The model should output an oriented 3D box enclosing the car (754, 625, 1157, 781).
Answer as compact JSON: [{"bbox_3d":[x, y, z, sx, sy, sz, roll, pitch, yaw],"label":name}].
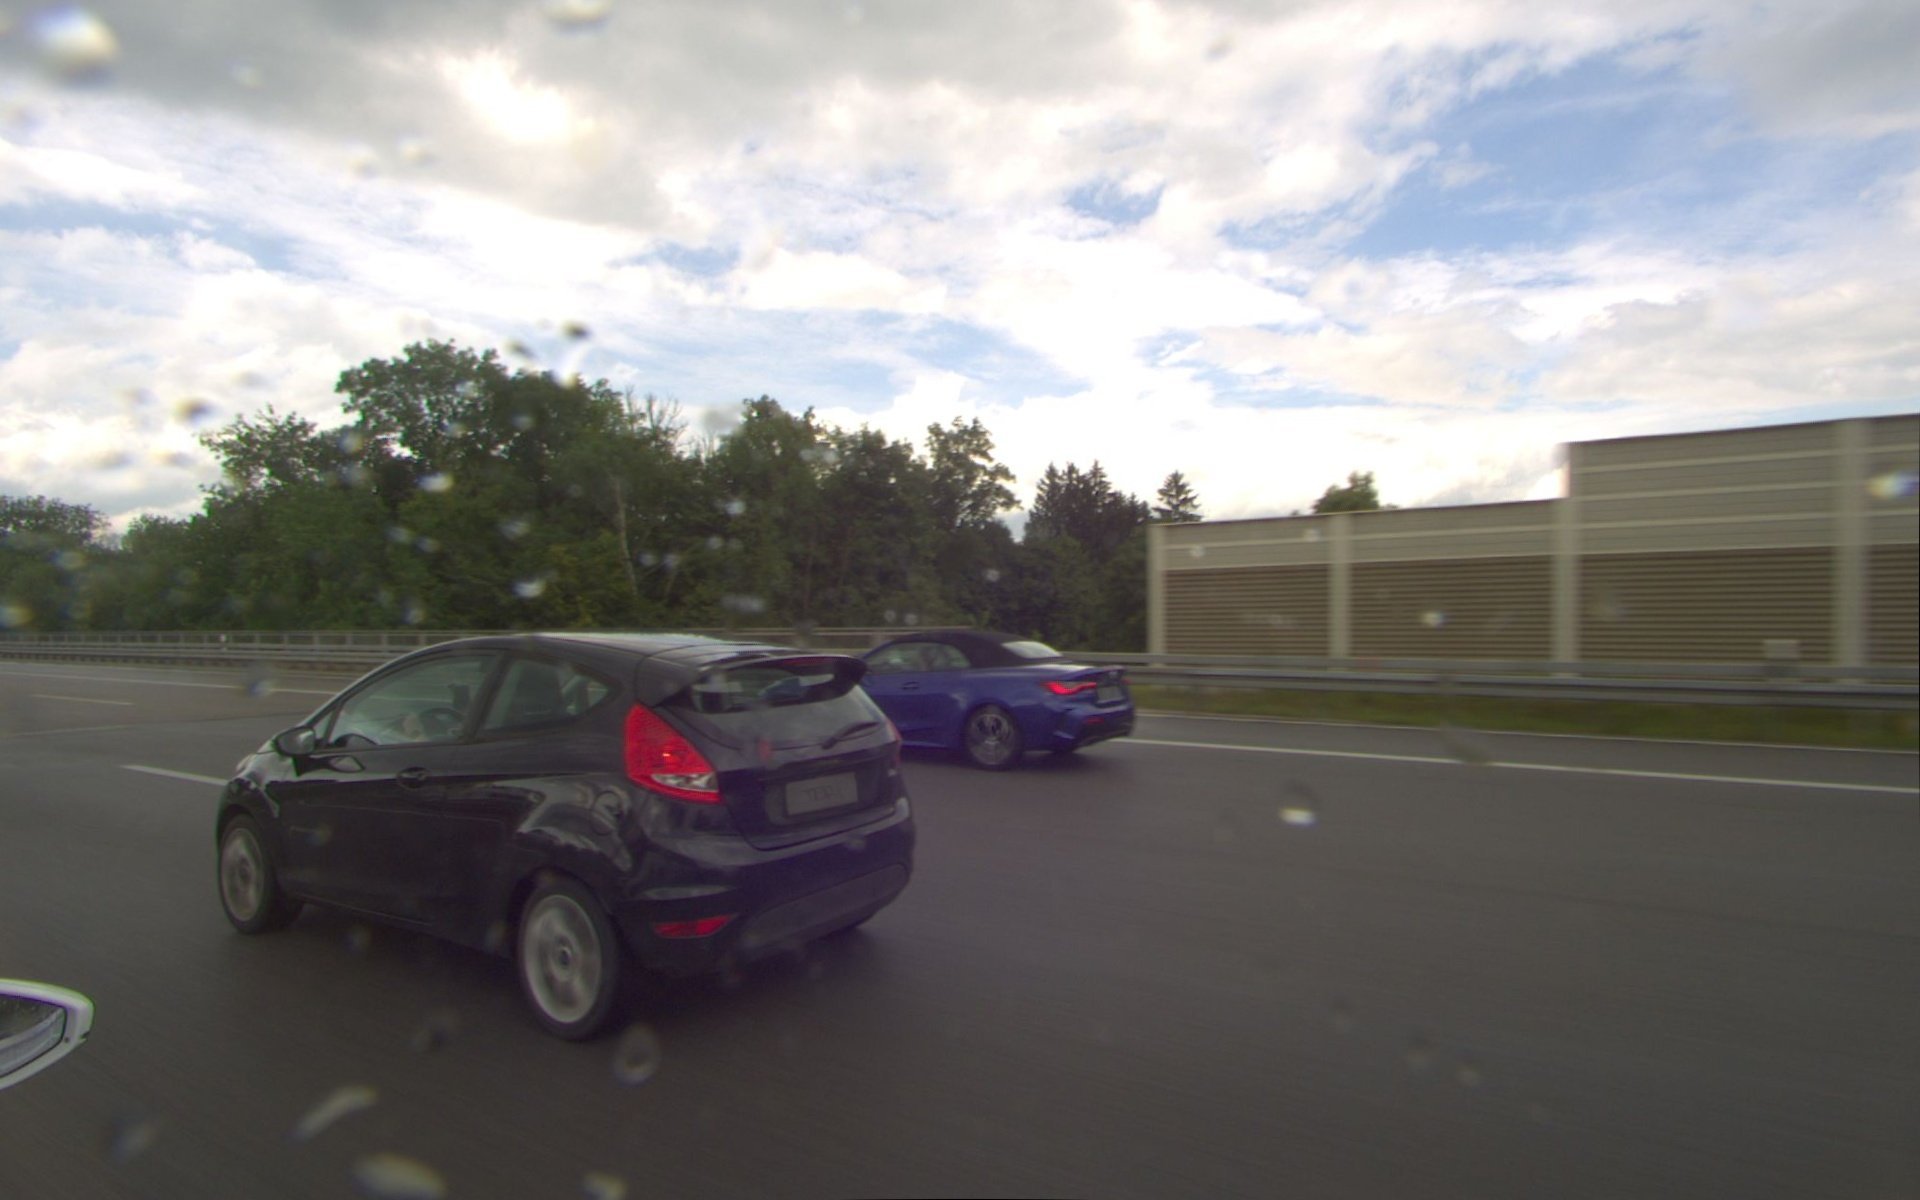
[{"bbox_3d":[-0.112,1.006,11.269,4.172,1.437,1.946,-1,-1,32],"label":"car"}]

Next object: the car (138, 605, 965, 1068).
[{"bbox_3d":[-2.200,0.840,4.995,4.218,1.434,1.715,-2,-3,33],"label":"car"}]
